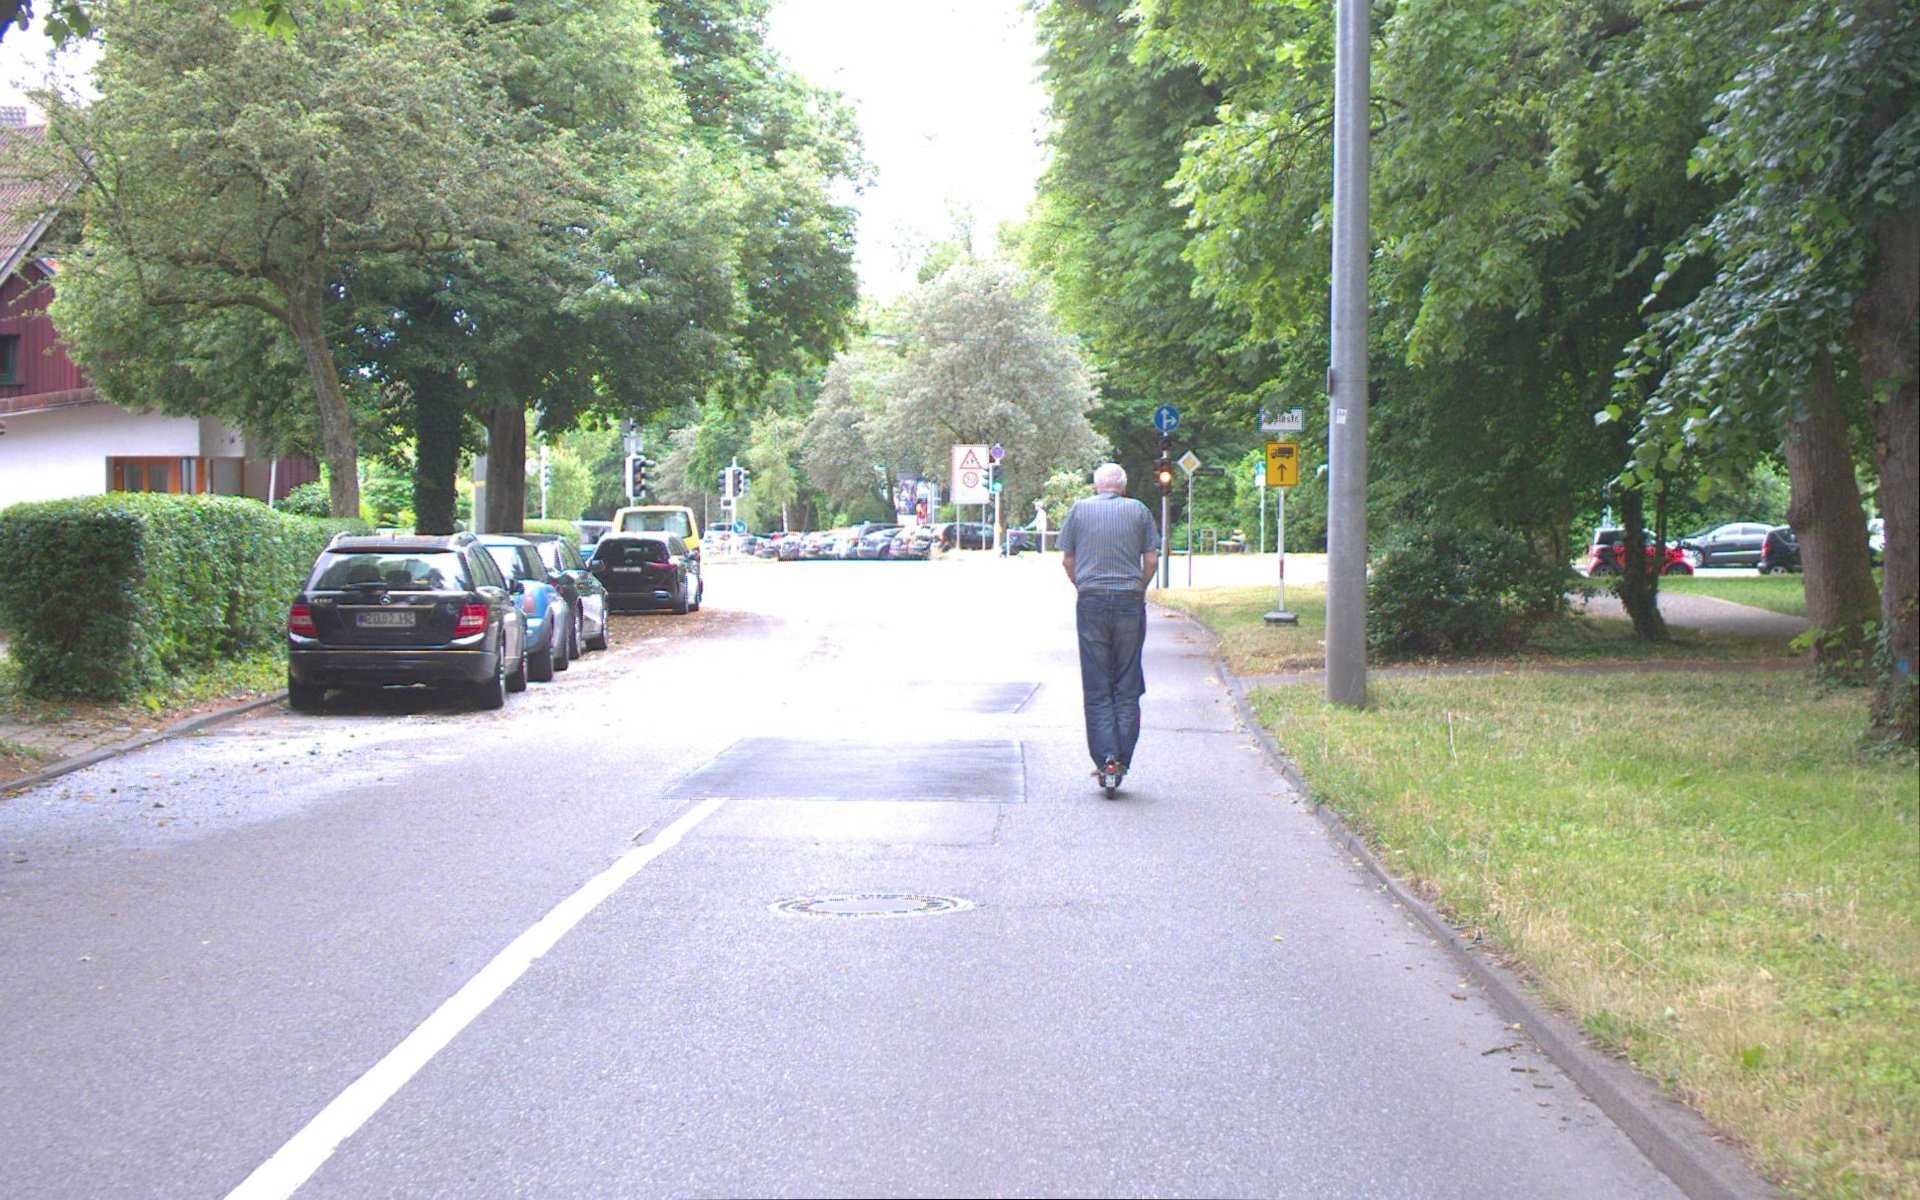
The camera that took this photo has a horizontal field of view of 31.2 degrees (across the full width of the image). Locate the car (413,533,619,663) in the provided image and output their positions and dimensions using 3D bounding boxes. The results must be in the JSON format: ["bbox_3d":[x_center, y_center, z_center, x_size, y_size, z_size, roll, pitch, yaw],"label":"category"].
[{"bbox_3d":[-5.128,-0.063,40.232,1.794,1.405,4.645,-1,1,0],"label":"car"}]

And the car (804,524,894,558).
[{"bbox_3d":[-4.977,-2.648,154.214,3.986,1.505,1.800,-1,1,-3],"label":"car"}]

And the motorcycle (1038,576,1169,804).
[{"bbox_3d":[0.802,0.489,19.500,0.673,1.213,1.274,1,1,0],"label":"motorcycle"}]

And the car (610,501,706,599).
[{"bbox_3d":[-6.308,-1.029,71.473,1.857,1.957,4.505,-1,1,-6],"label":"car"}]

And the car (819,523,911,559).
[{"bbox_3d":[-4.207,-2.623,152.325,3.986,1.505,1.800,-1,1,-3],"label":"car"}]

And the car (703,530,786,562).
[{"bbox_3d":[-10.563,-2.646,168.646,3.986,1.505,1.800,-1,1,-3],"label":"car"}]

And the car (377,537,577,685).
[{"bbox_3d":[-4.802,0.069,34.596,1.664,1.387,3.707,-1,1,-3],"label":"car"}]

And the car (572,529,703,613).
[{"bbox_3d":[-5.630,-0.522,60.459,1.892,1.405,4.554,-1,1,0],"label":"car"}]

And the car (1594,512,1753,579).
[{"bbox_3d":[18.646,-1.441,89.925,3.989,1.551,1.799,2,4,12],"label":"car"}]

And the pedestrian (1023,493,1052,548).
[{"bbox_3d":[2.454,-2.511,108.722,0.733,1.755,0.661,0,1,19],"label":"pedestrian"}]

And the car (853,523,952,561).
[{"bbox_3d":[-2.389,-2.409,141.625,3.986,1.505,1.800,-1,1,-3],"label":"car"}]

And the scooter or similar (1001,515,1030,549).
[{"bbox_3d":[1.745,-2.156,108.982,0.711,1.045,0.786,0,1,18],"label":"scooter or similar"}]

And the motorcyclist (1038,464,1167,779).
[{"bbox_3d":[0.806,0.112,19.626,0.673,1.755,0.639,1,1,0],"label":"motorcyclist"}]

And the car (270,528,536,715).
[{"bbox_3d":[-4.701,0.122,29.567,1.794,1.467,4.419,-1,1,-3],"label":"car"}]
